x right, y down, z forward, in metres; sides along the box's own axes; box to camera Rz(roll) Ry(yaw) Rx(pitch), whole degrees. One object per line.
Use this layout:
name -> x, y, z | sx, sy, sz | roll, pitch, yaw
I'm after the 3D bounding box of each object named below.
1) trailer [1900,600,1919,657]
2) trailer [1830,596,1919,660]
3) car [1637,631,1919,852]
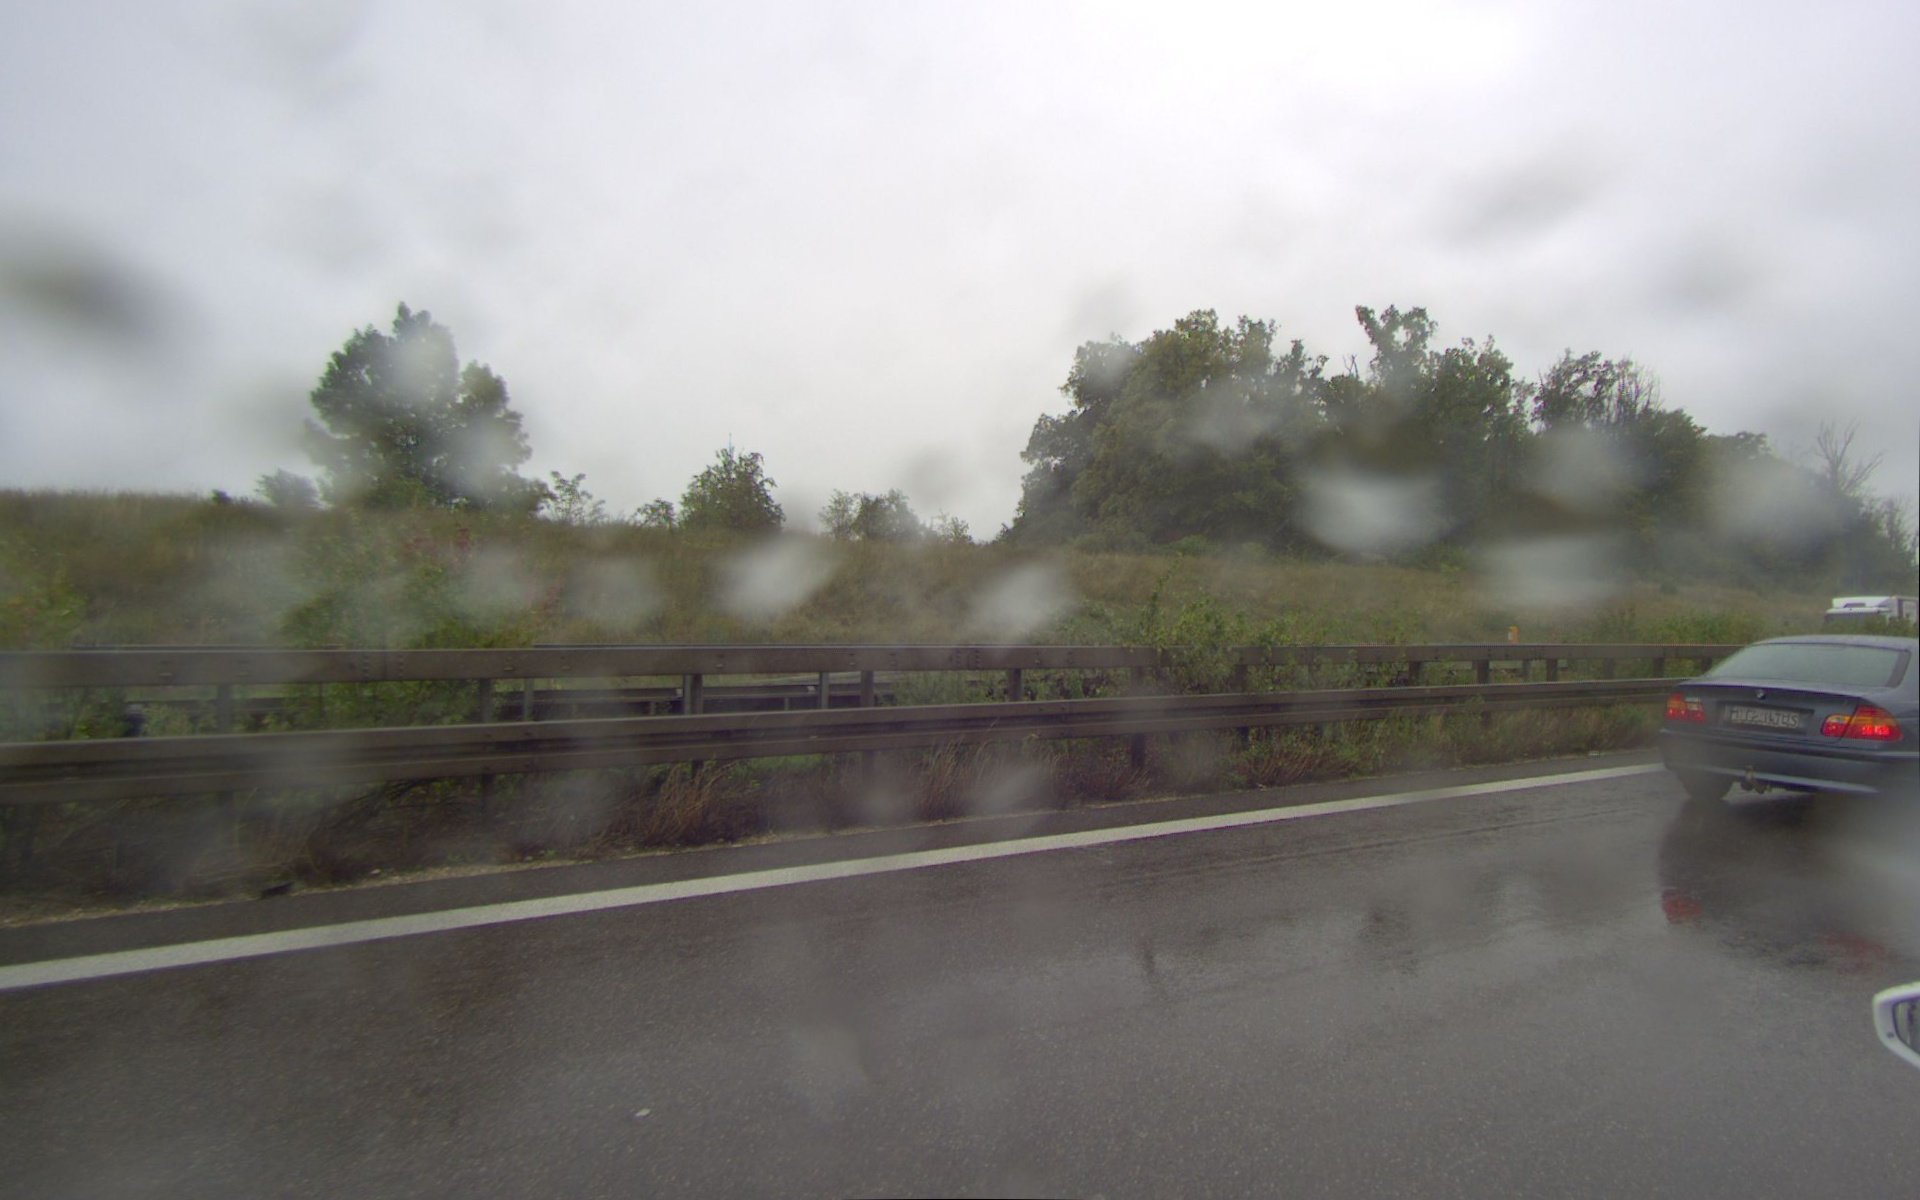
trailer -> 56.304, 1.629, 56.988 | 8.769, 3.123, 1.983 | 1, 0, -31
trailer -> 48.487, 1.436, 52.267 | 9.445, 3.123, 1.983 | 1, 0, -31
car -> 7.745, 1.013, 8.462 | 4.179, 1.418, 1.710 | 2, -1, -29
